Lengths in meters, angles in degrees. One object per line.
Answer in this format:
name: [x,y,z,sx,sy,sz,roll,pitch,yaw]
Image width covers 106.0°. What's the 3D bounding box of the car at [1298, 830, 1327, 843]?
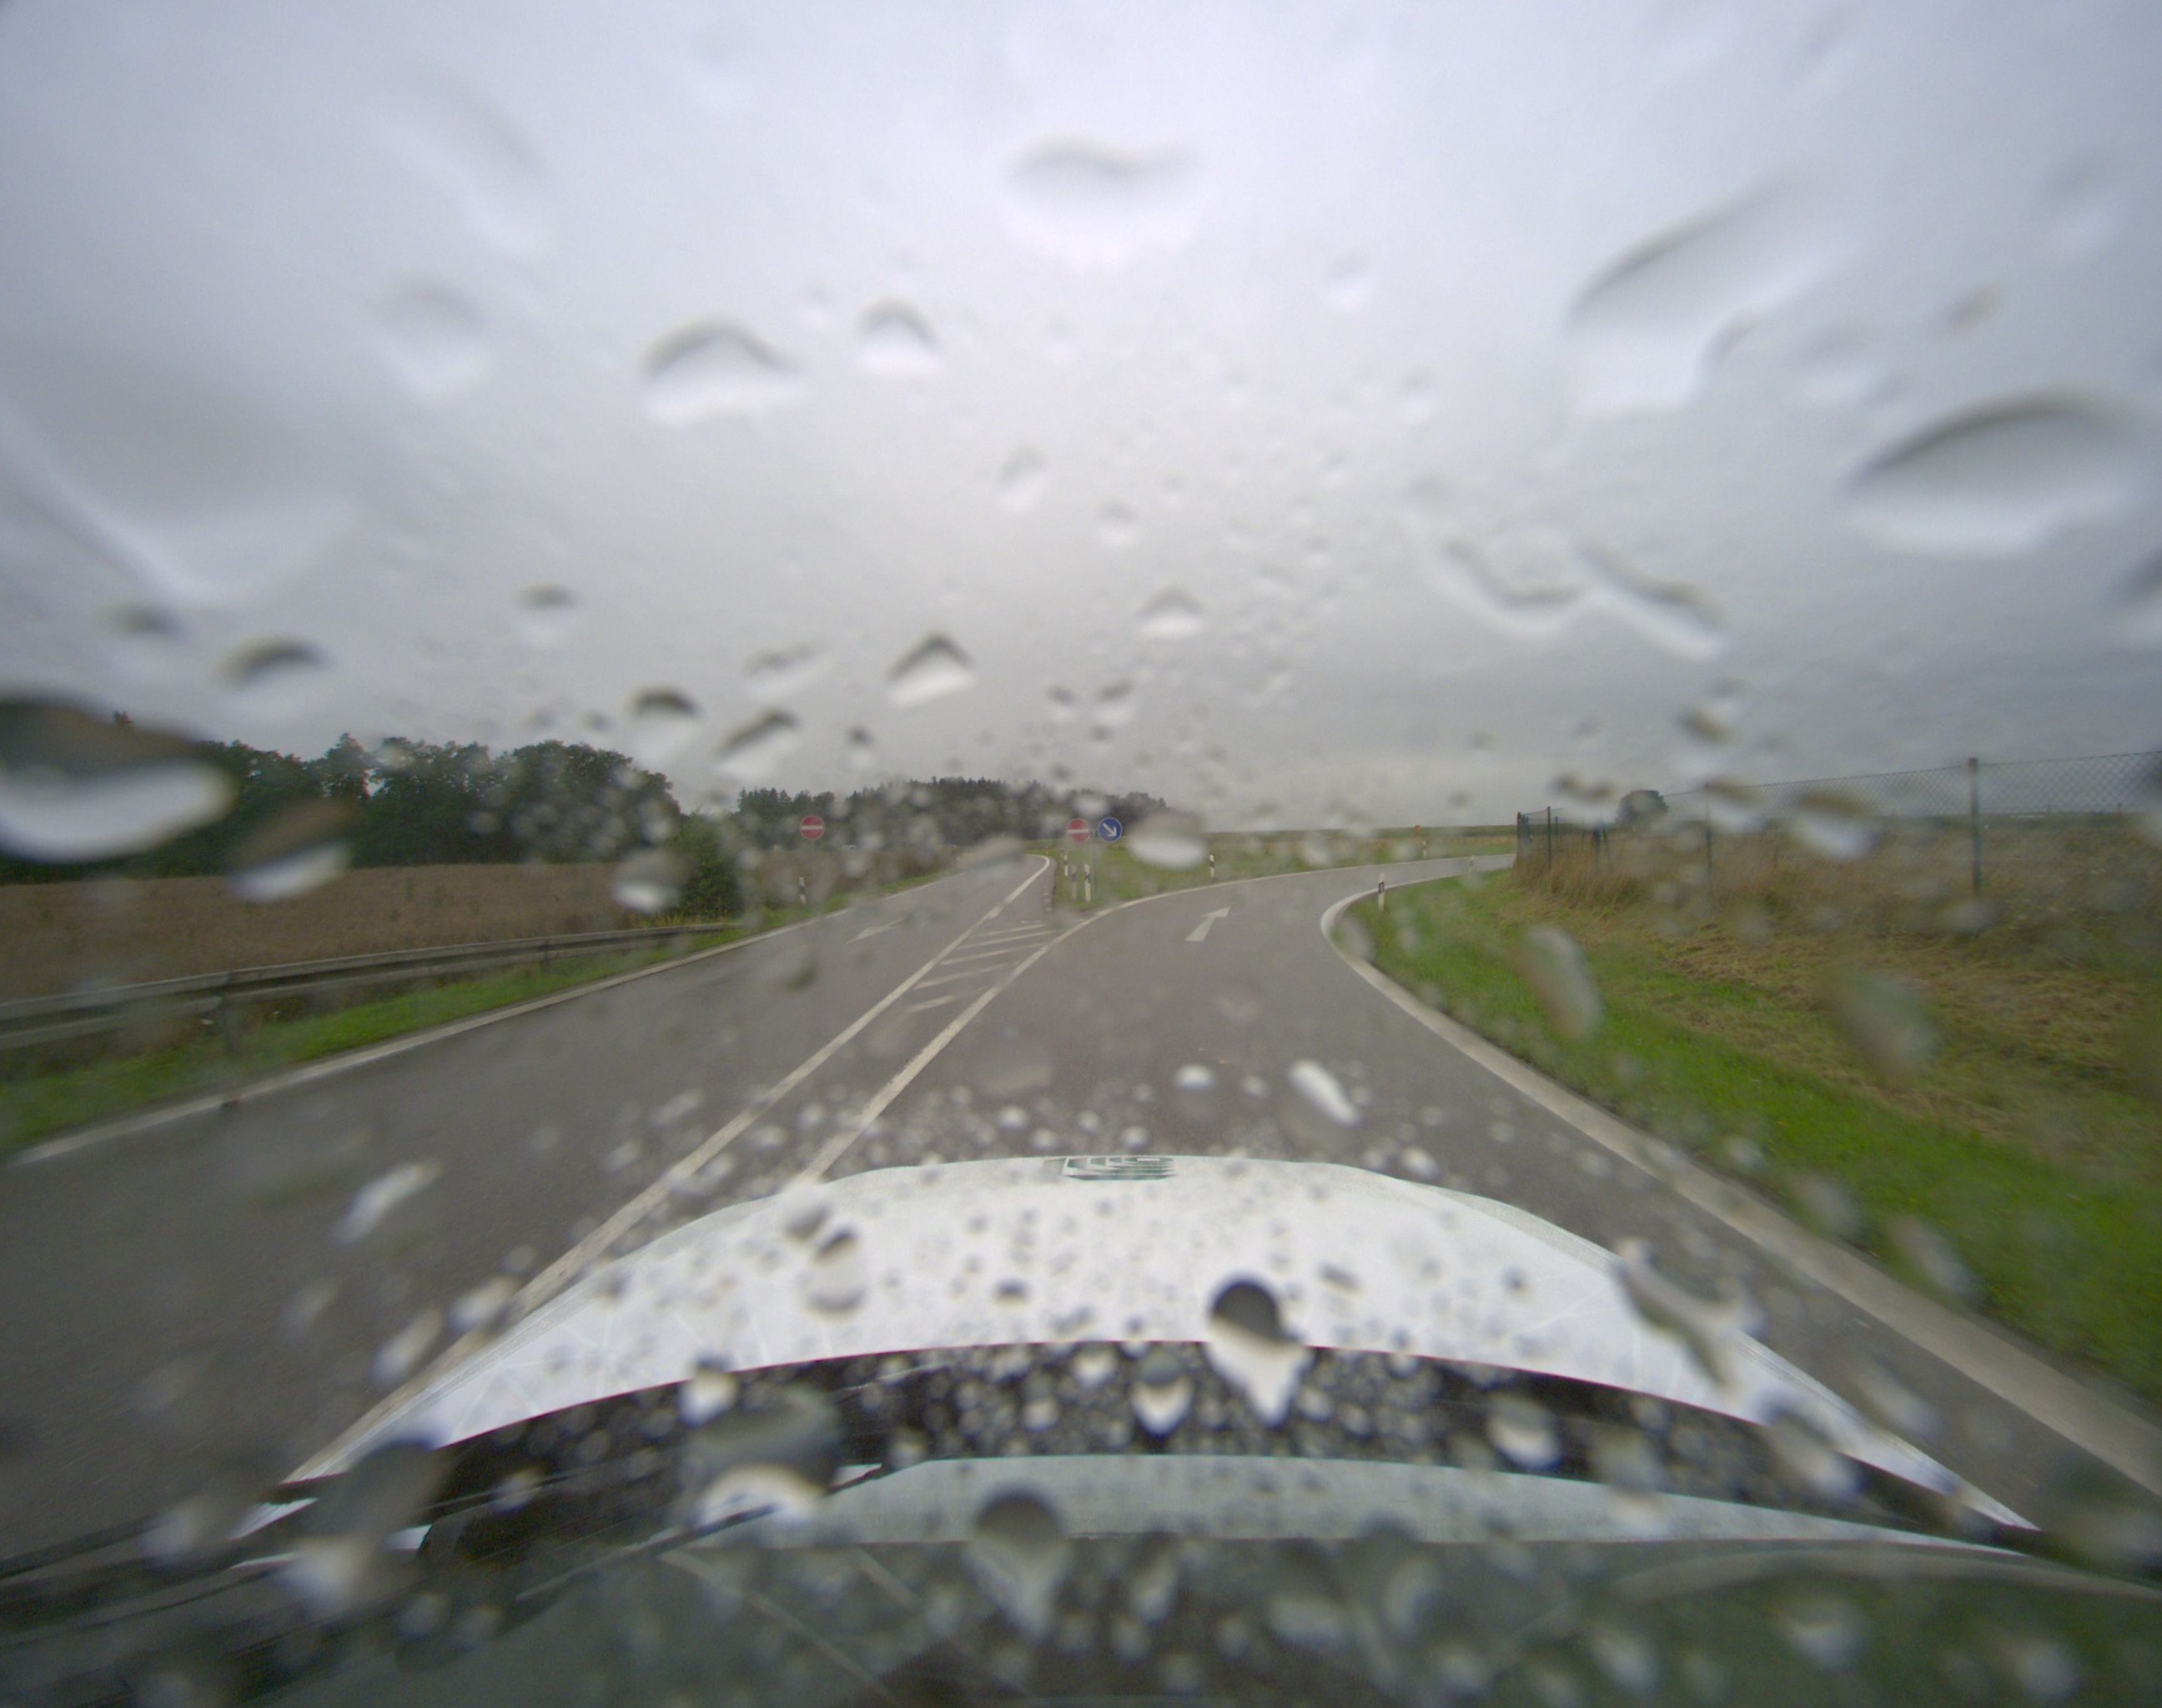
car: [35.762,-2.661,125.670,1.746,1.736,3.951,-4,2,-44]
